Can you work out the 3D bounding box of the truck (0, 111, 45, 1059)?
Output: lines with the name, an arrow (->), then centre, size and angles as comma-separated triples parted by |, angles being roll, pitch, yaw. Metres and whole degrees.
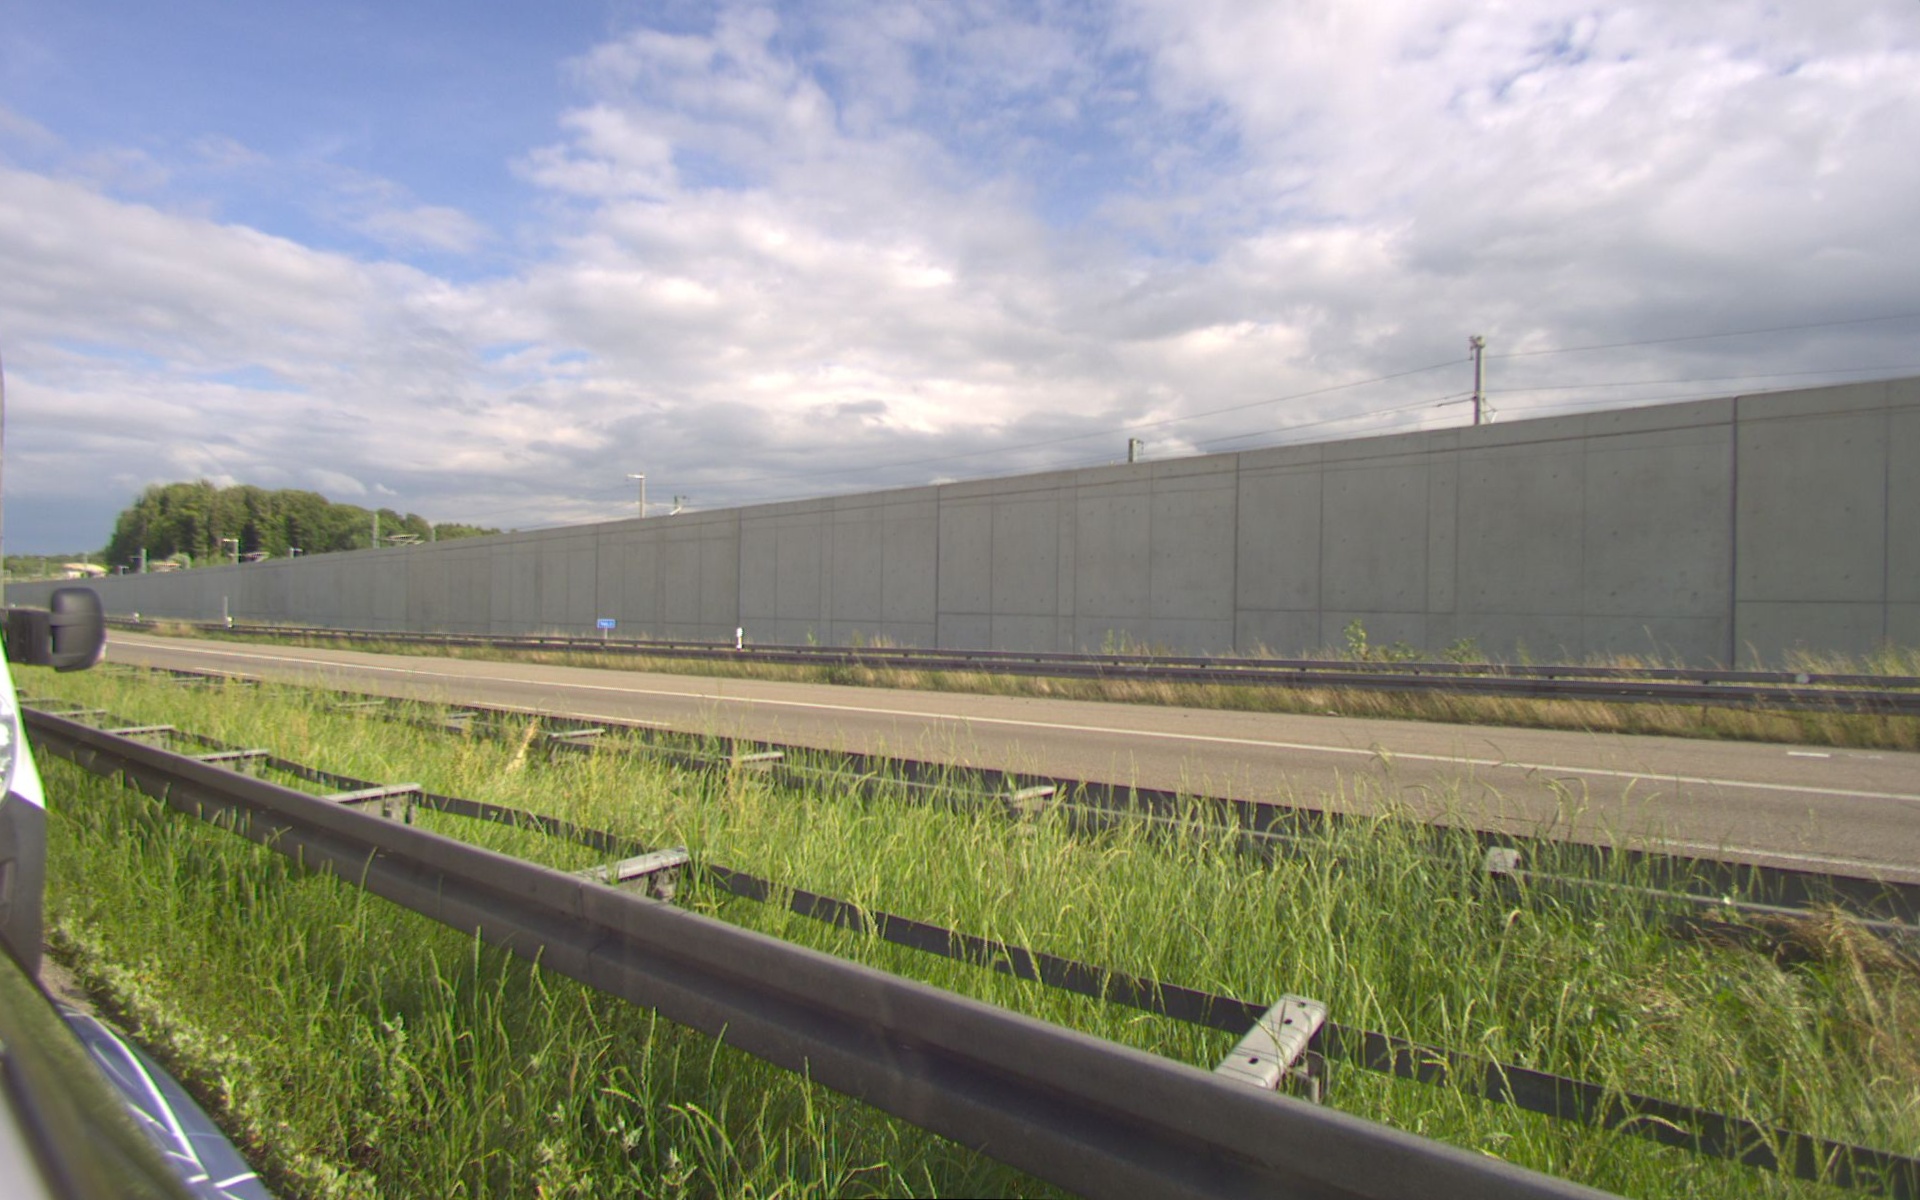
truck -> -6.688, -0.017, 5.223 | 7.800, 3.129, 2.033 | -1, 0, 41
